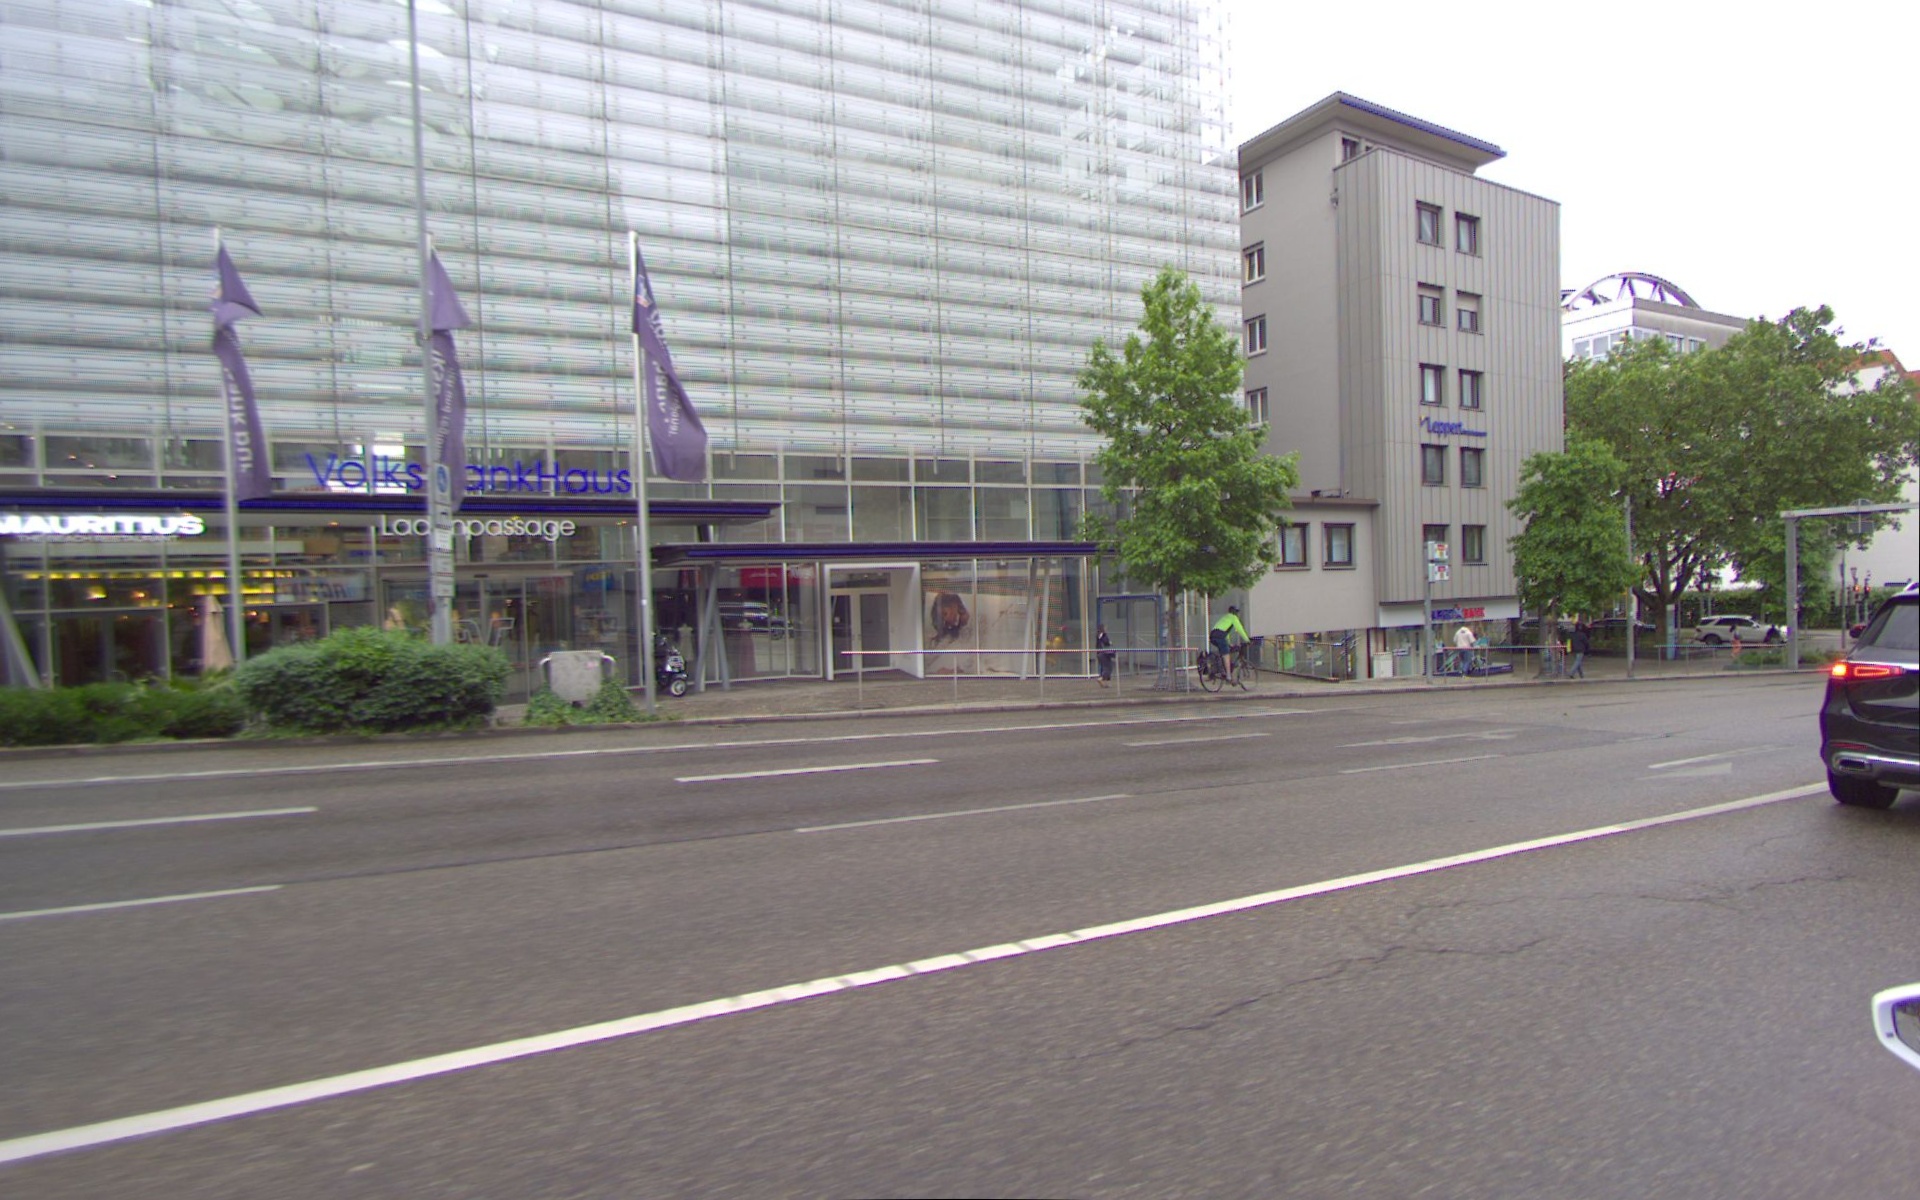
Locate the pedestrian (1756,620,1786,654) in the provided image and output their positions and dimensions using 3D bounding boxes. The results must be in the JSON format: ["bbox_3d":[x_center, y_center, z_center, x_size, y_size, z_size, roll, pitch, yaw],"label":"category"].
[{"bbox_3d":[42.156,1.942,52.243,0.749,1.745,0.947,0,-1,-22],"label":"pedestrian"}]

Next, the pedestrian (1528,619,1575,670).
[{"bbox_3d":[20.575,1.530,34.971,1.075,1.745,0.970,0,-1,-26],"label":"pedestrian"}]

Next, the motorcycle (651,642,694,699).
[{"bbox_3d":[-7.133,1.728,24.877,0.759,1.312,1.542,1,-1,-26],"label":"motorcycle"}]

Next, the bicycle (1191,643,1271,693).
[{"bbox_3d":[6.292,1.554,23.279,2.051,1.114,0.673,2,-2,-37],"label":"bicycle"}]

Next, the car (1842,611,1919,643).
[{"bbox_3d":[53.165,1.557,57.006,4.631,1.665,1.777,2,1,43],"label":"car"}]

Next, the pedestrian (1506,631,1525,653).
[{"bbox_3d":[32.929,2.465,59.505,0.935,1.289,0.758,-1,-1,31],"label":"pedestrian"}]

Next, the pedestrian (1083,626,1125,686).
[{"bbox_3d":[3.588,1.385,25.068,0.833,1.476,0.650,0,-1,-26],"label":"pedestrian"}]

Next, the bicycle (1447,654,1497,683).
[{"bbox_3d":[21.049,2.816,41.277,2.643,1.101,0.608,1,0,-34],"label":"bicycle"}]

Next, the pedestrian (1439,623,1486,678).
[{"bbox_3d":[16.205,1.619,32.380,1.029,1.745,0.986,1,-1,-37],"label":"pedestrian"}]

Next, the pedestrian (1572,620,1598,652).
[{"bbox_3d":[34.489,1.959,55.441,0.937,1.745,0.756,0,-1,-20],"label":"pedestrian"}]

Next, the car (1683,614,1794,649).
[{"bbox_3d":[46.298,1.841,59.829,1.987,1.782,5.020,1,1,-45],"label":"car"}]

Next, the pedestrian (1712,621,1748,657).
[{"bbox_3d":[39.620,2.002,51.680,0.996,1.745,0.951,-2,-1,-6],"label":"pedestrian"}]

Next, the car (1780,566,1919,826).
[{"bbox_3d":[8.948,0.719,8.202,4.740,1.841,2.075,1,2,-33],"label":"car"}]

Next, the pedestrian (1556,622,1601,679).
[{"bbox_3d":[19.443,1.576,31.570,1.302,1.735,0.809,1,-2,-40],"label":"pedestrian"}]

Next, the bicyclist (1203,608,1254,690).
[{"bbox_3d":[6.214,1.126,23.232,0.981,1.854,0.664,2,-2,-37],"label":"bicyclist"}]

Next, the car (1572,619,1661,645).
[{"bbox_3d":[43.304,2.082,66.305,1.987,1.612,4.651,1,-1,-45],"label":"car"}]
